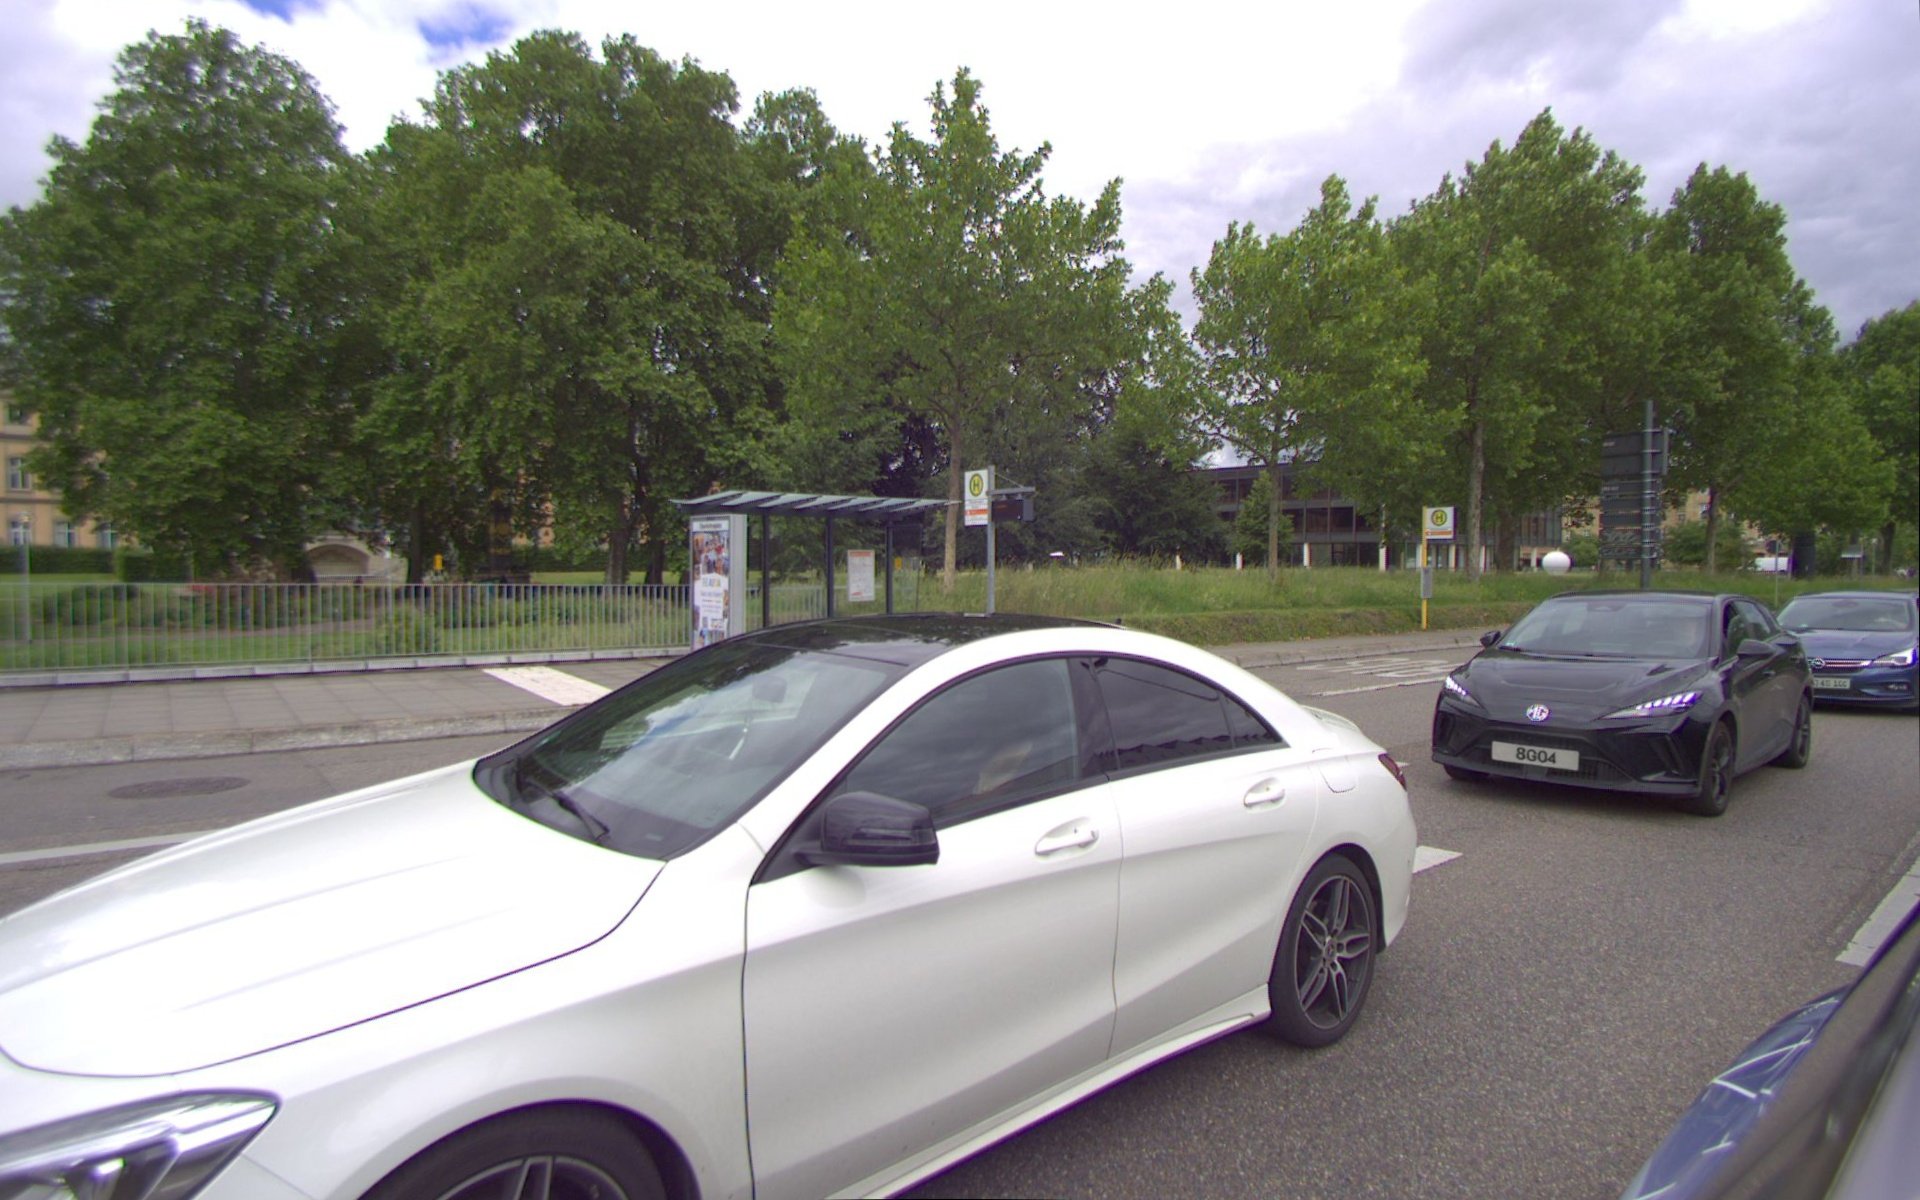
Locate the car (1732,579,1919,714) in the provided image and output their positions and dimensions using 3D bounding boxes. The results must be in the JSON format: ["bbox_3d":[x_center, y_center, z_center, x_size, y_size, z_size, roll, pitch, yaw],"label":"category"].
[{"bbox_3d":[11.596,0.473,13.025,3.944,1.452,1.804,-1,2,-40],"label":"car"}]

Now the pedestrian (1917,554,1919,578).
[{"bbox_3d":[81.537,-2.912,85.430,1.160,2.039,0.891,-2,0,-40],"label":"pedestrian"}]

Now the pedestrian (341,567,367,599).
[{"bbox_3d":[-39.820,-1.108,66.508,1.087,2.039,0.941,-2,0,7],"label":"pedestrian"}]

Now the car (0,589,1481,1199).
[{"bbox_3d":[-0.264,0.726,3.214,4.446,1.437,1.799,-1,2,-39],"label":"car"}]

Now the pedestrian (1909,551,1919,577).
[{"bbox_3d":[75.815,-2.856,80.099,1.160,2.039,0.891,-2,0,-40],"label":"pedestrian"}]

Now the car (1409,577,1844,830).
[{"bbox_3d":[5.480,0.581,8.136,4.020,1.508,1.852,-1,2,-40],"label":"car"}]
